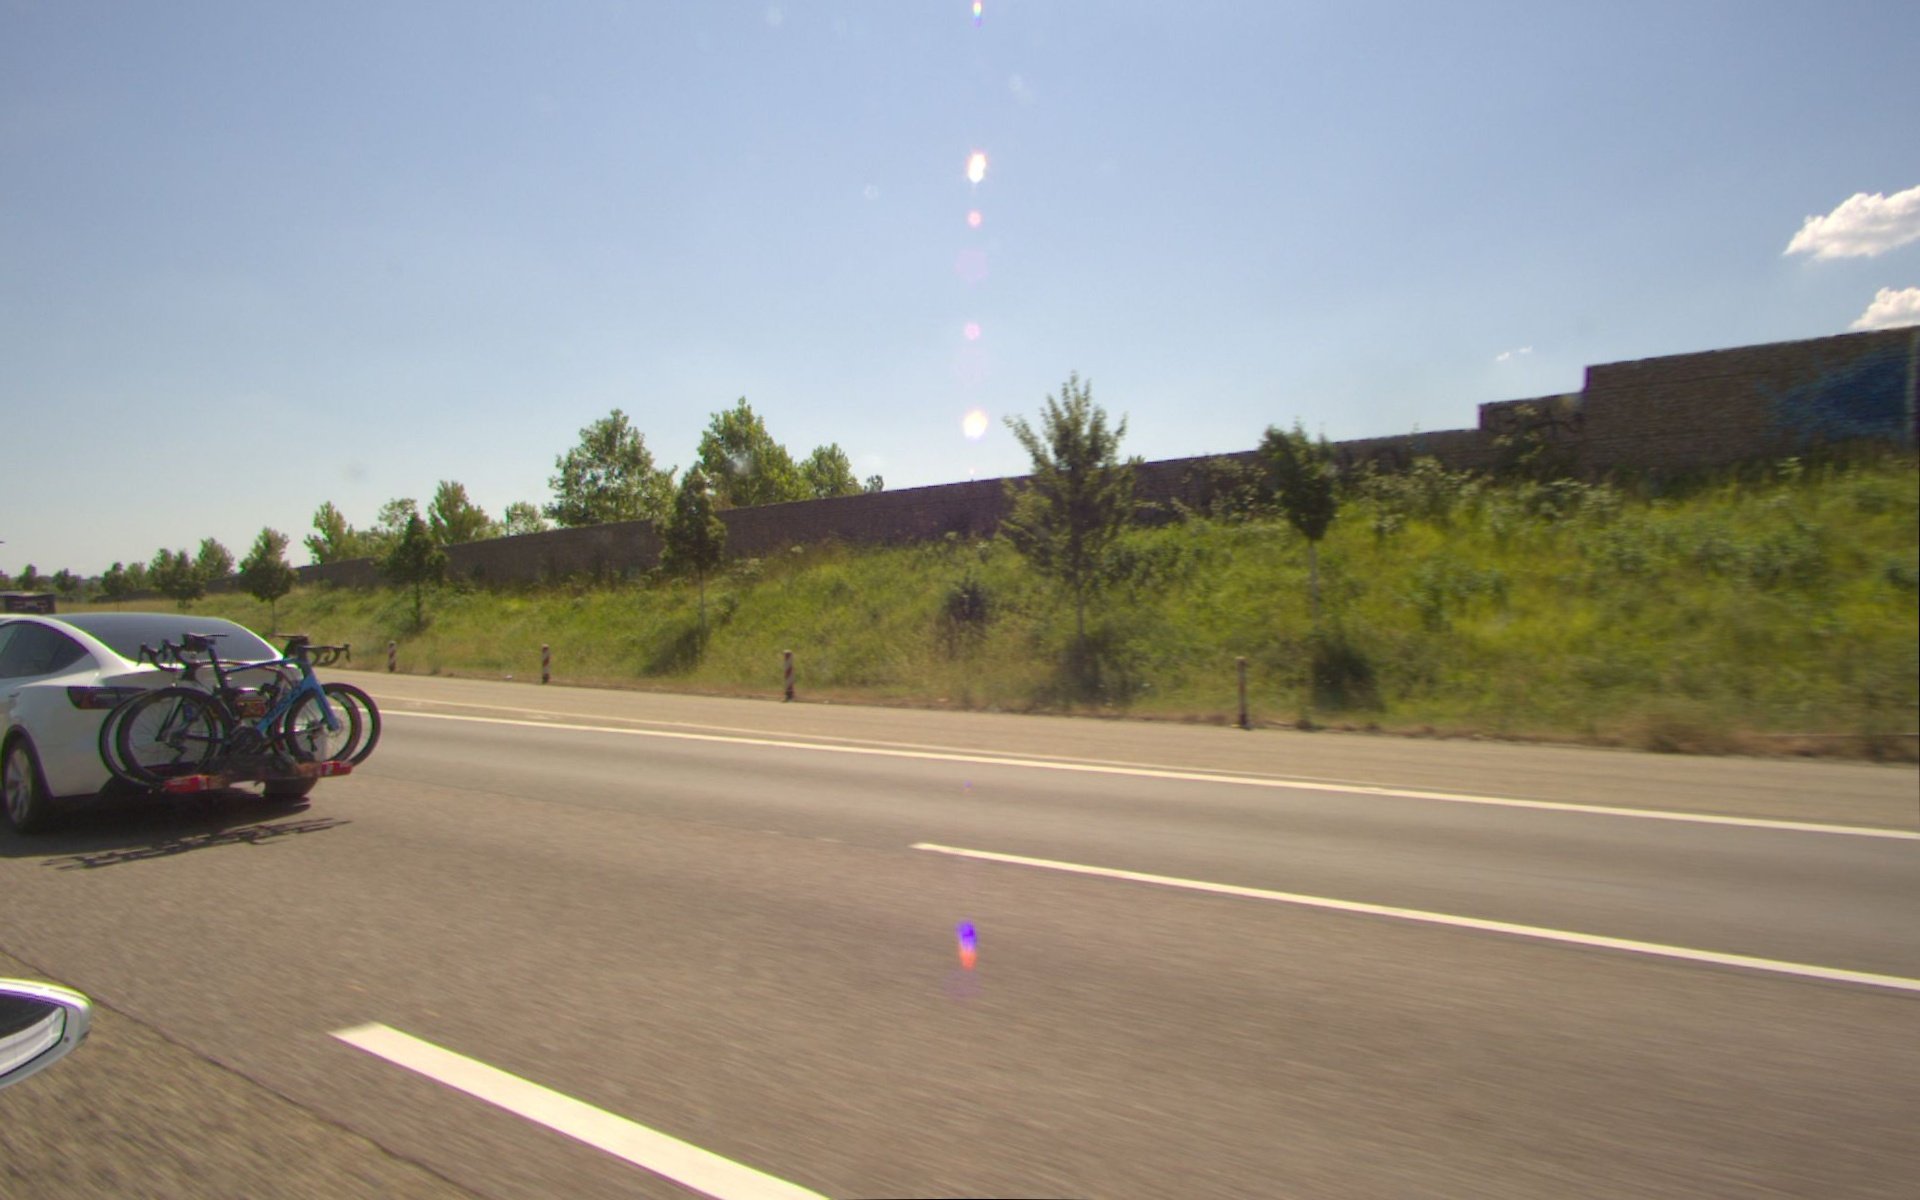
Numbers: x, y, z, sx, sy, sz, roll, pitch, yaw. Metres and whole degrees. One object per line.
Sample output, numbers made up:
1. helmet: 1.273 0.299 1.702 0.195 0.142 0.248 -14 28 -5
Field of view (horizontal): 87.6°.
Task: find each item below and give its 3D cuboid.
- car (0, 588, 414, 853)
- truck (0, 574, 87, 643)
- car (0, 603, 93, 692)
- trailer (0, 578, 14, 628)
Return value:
1. car: -7.181 0.825 8.564 5.519 1.657 1.948 -1 -2 32
2. truck: -60.332 0.721 65.516 12.388 4.135 3.767 -2 -2 44
3. car: -21.713 1.032 22.663 4.117 1.862 1.947 -1 0 31
4. trailer: -85.314 0.357 85.905 14.063 4.135 3.045 -1 -2 34
